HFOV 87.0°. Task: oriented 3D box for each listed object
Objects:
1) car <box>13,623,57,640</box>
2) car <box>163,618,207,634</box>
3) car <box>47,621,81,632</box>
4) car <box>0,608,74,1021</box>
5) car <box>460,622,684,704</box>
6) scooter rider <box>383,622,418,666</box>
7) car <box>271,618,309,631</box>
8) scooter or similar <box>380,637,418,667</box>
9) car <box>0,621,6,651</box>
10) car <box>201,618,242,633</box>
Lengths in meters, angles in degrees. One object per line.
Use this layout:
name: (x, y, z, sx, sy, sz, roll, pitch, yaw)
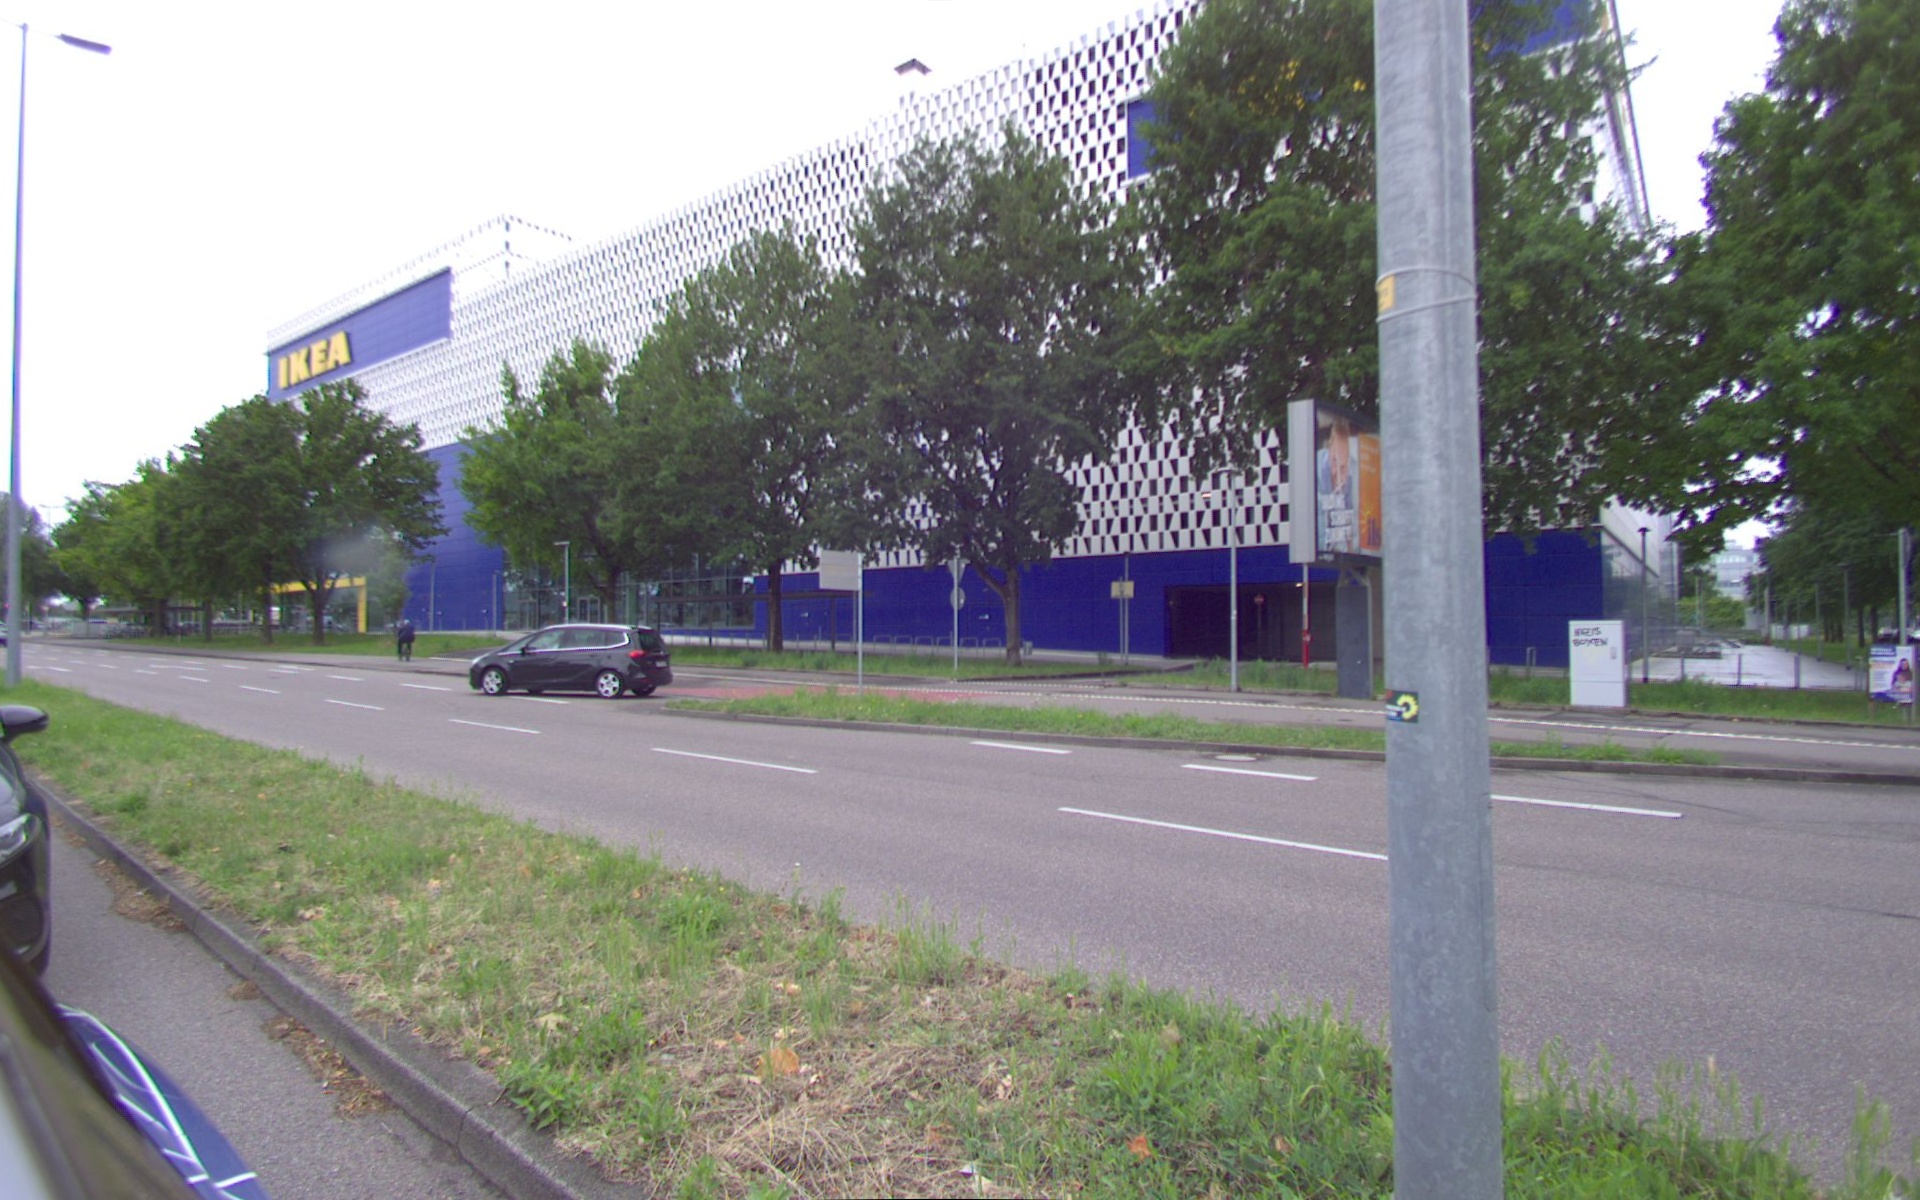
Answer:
car: (-118.512, 4.065, 129.673, 1.998, 2.029, 3.948, -1, 0, 38)
car: (-86.307, 2.862, 112.741, 1.741, 1.652, 3.522, -1, 0, 37)
car: (-161.073, 4.697, 181.975, 1.741, 1.837, 4.239, -1, 0, 37)
car: (-5.425, 0.825, 4.396, 4.194, 1.445, 1.835, -2, -1, 41)
car: (-8.681, 1.411, 22.872, 4.306, 1.668, 1.846, 1, -3, 5)
scooter rider: (-22.646, 1.776, 40.982, 1.033, 1.733, 0.791, -1, -1, 24)
car: (-93.299, 3.400, 141.005, 1.994, 1.829, 3.956, -1, 0, 33)
scooter or similar: (-22.721, 2.092, 40.996, 1.417, 1.134, 0.585, -1, 2, 24)
car: (-63.264, 2.333, 65.404, 3.921, 1.900, 1.824, -1, 0, 39)
car: (-97.974, 3.388, 134.364, 1.994, 1.829, 3.956, -1, 0, 33)
